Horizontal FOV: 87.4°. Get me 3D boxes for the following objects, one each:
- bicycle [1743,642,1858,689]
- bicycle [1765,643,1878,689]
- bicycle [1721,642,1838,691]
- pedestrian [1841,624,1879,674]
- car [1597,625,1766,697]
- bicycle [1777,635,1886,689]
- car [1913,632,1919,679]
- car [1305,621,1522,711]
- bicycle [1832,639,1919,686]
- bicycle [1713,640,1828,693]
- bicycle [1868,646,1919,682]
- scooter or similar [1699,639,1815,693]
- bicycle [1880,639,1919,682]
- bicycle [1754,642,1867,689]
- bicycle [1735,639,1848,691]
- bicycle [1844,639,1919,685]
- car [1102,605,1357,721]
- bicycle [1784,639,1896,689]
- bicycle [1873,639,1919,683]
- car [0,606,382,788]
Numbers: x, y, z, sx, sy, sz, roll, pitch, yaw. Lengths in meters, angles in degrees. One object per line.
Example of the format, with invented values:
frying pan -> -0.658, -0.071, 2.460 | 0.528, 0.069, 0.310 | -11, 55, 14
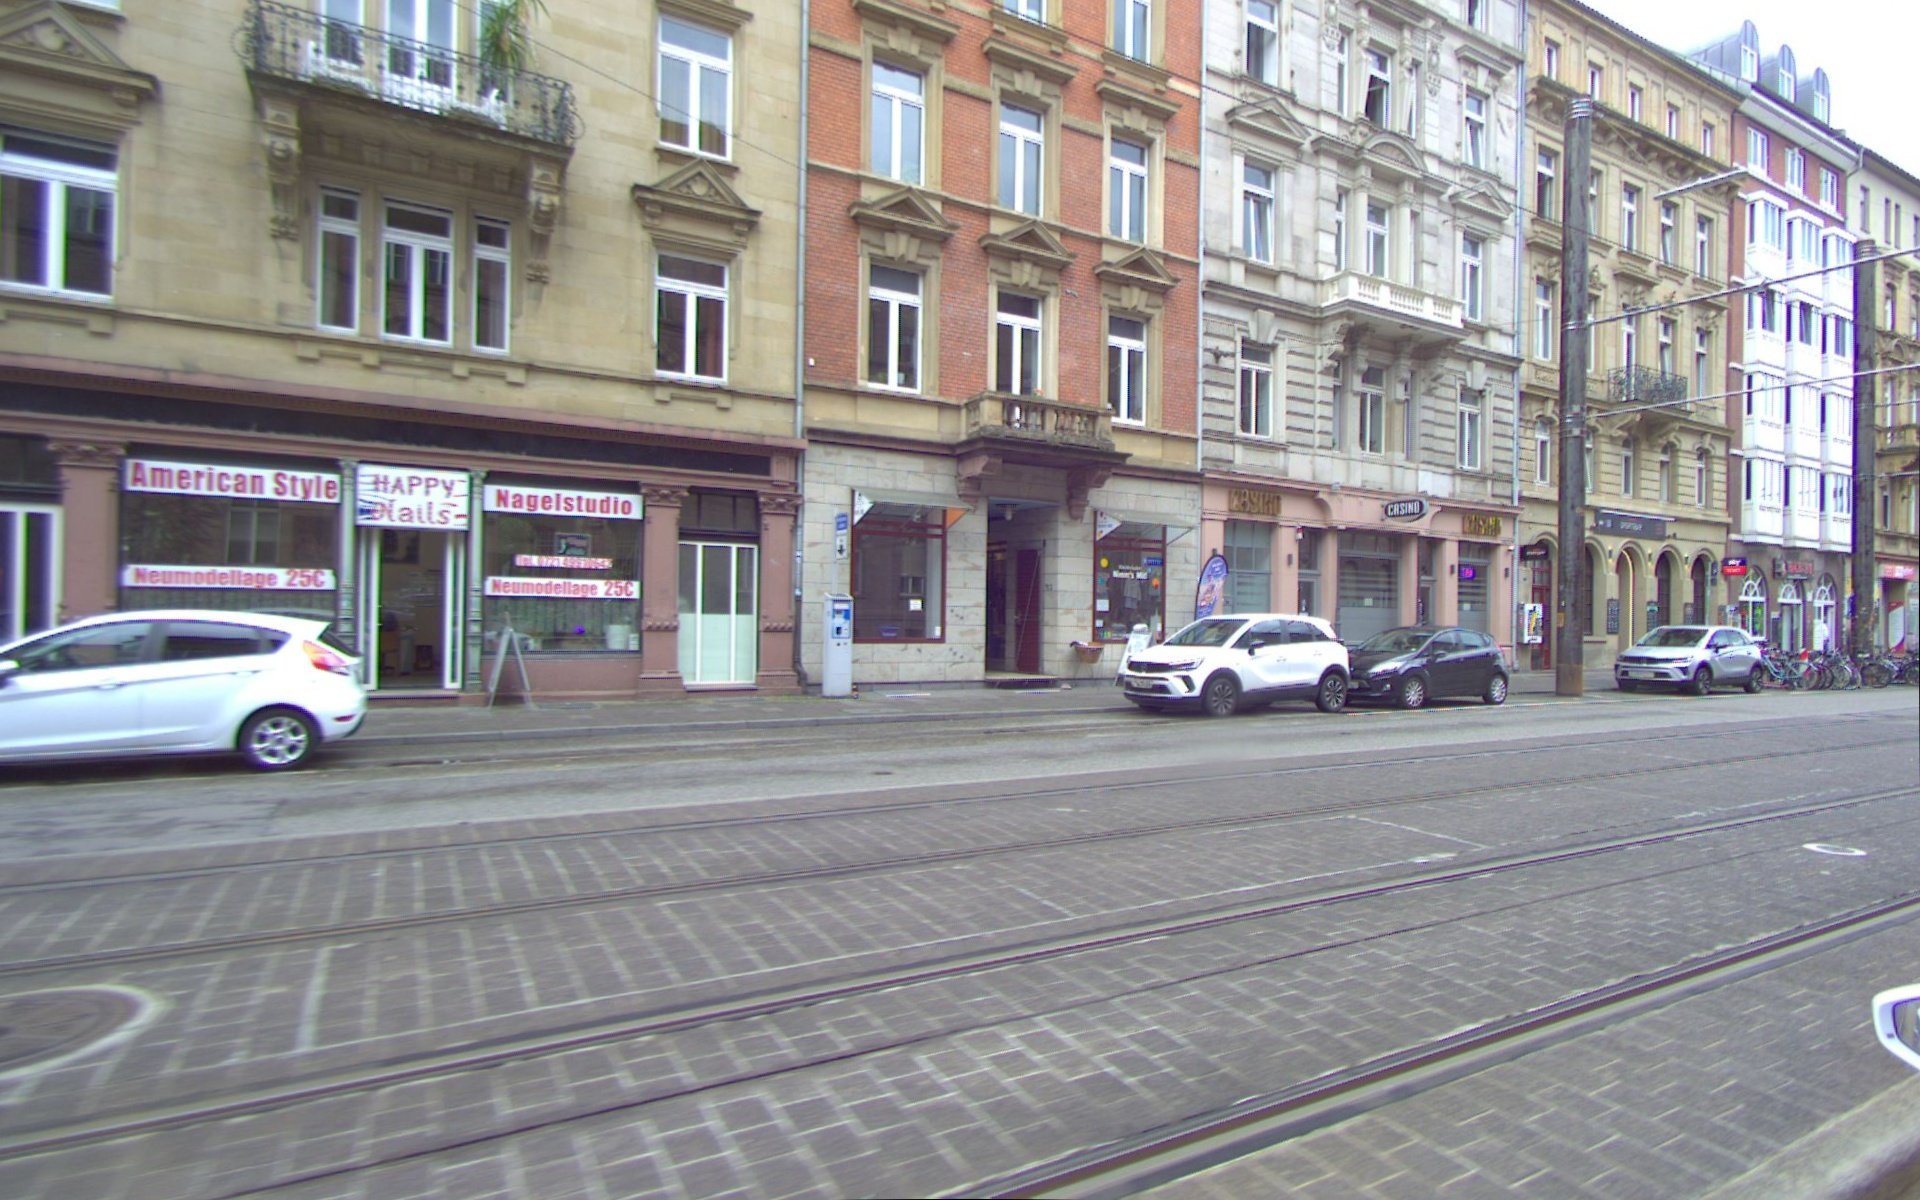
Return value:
bicycle -> 22.624, 1.750, 27.108 | 0.696, 1.219, 2.273 | 1, -3, -28
bicycle -> 23.874, 1.817, 27.888 | 0.658, 1.219, 2.273 | 1, -3, -28
bicycle -> 21.527, 1.725, 26.443 | 0.696, 1.219, 2.273 | 1, -3, -28
pedestrian -> 33.233, 1.794, 37.088 | 0.769, 1.806, 0.655 | 2, 0, 7
car -> 17.089, 1.398, 23.755 | 4.176, 1.553, 1.735 | 1, -2, -31
bicycle -> 24.421, 1.716, 28.199 | 0.443, 1.311, 2.272 | 1, 1, -28
car -> 32.816, 1.814, 32.623 | 3.875, 1.508, 1.735 | 1, -2, -31
car -> 8.430, 1.172, 18.627 | 3.873, 1.508, 1.736 | 1, -2, -29
bicycle -> 27.434, 1.848, 29.771 | 0.658, 1.346, 2.273 | 1, -3, -28
bicycle -> 20.972, 1.692, 26.047 | 0.541, 1.219, 2.272 | 1, 0, -28
bicycle -> 29.359, 1.982, 30.732 | 0.612, 1.055, 2.272 | 1, -1, -28
scooter or similar -> 20.404, 1.673, 25.779 | 0.541, 1.219, 2.272 | 1, 0, -28
bicycle -> 30.412, 1.881, 31.450 | 0.658, 1.346, 2.273 | 1, -3, -28
bicycle -> 23.265, 1.779, 27.532 | 0.658, 1.219, 2.273 | 1, -3, -28
bicycle -> 22.087, 1.699, 26.739 | 0.534, 1.219, 2.272 | 3, 0, -28
bicycle -> 28.147, 1.850, 30.174 | 0.658, 1.346, 2.273 | 1, -3, -28
car -> 4.435, 0.976, 16.406 | 3.998, 1.694, 1.735 | 1, -2, -30
bicycle -> 24.941, 1.802, 28.517 | 0.658, 1.346, 2.273 | 1, -3, -28
bicycle -> 29.818, 1.892, 31.050 | 0.514, 1.346, 2.273 | 1, -3, -28
car -> -7.676, 0.825, 9.298 | 3.998, 1.484, 1.735 | 1, -2, -30
